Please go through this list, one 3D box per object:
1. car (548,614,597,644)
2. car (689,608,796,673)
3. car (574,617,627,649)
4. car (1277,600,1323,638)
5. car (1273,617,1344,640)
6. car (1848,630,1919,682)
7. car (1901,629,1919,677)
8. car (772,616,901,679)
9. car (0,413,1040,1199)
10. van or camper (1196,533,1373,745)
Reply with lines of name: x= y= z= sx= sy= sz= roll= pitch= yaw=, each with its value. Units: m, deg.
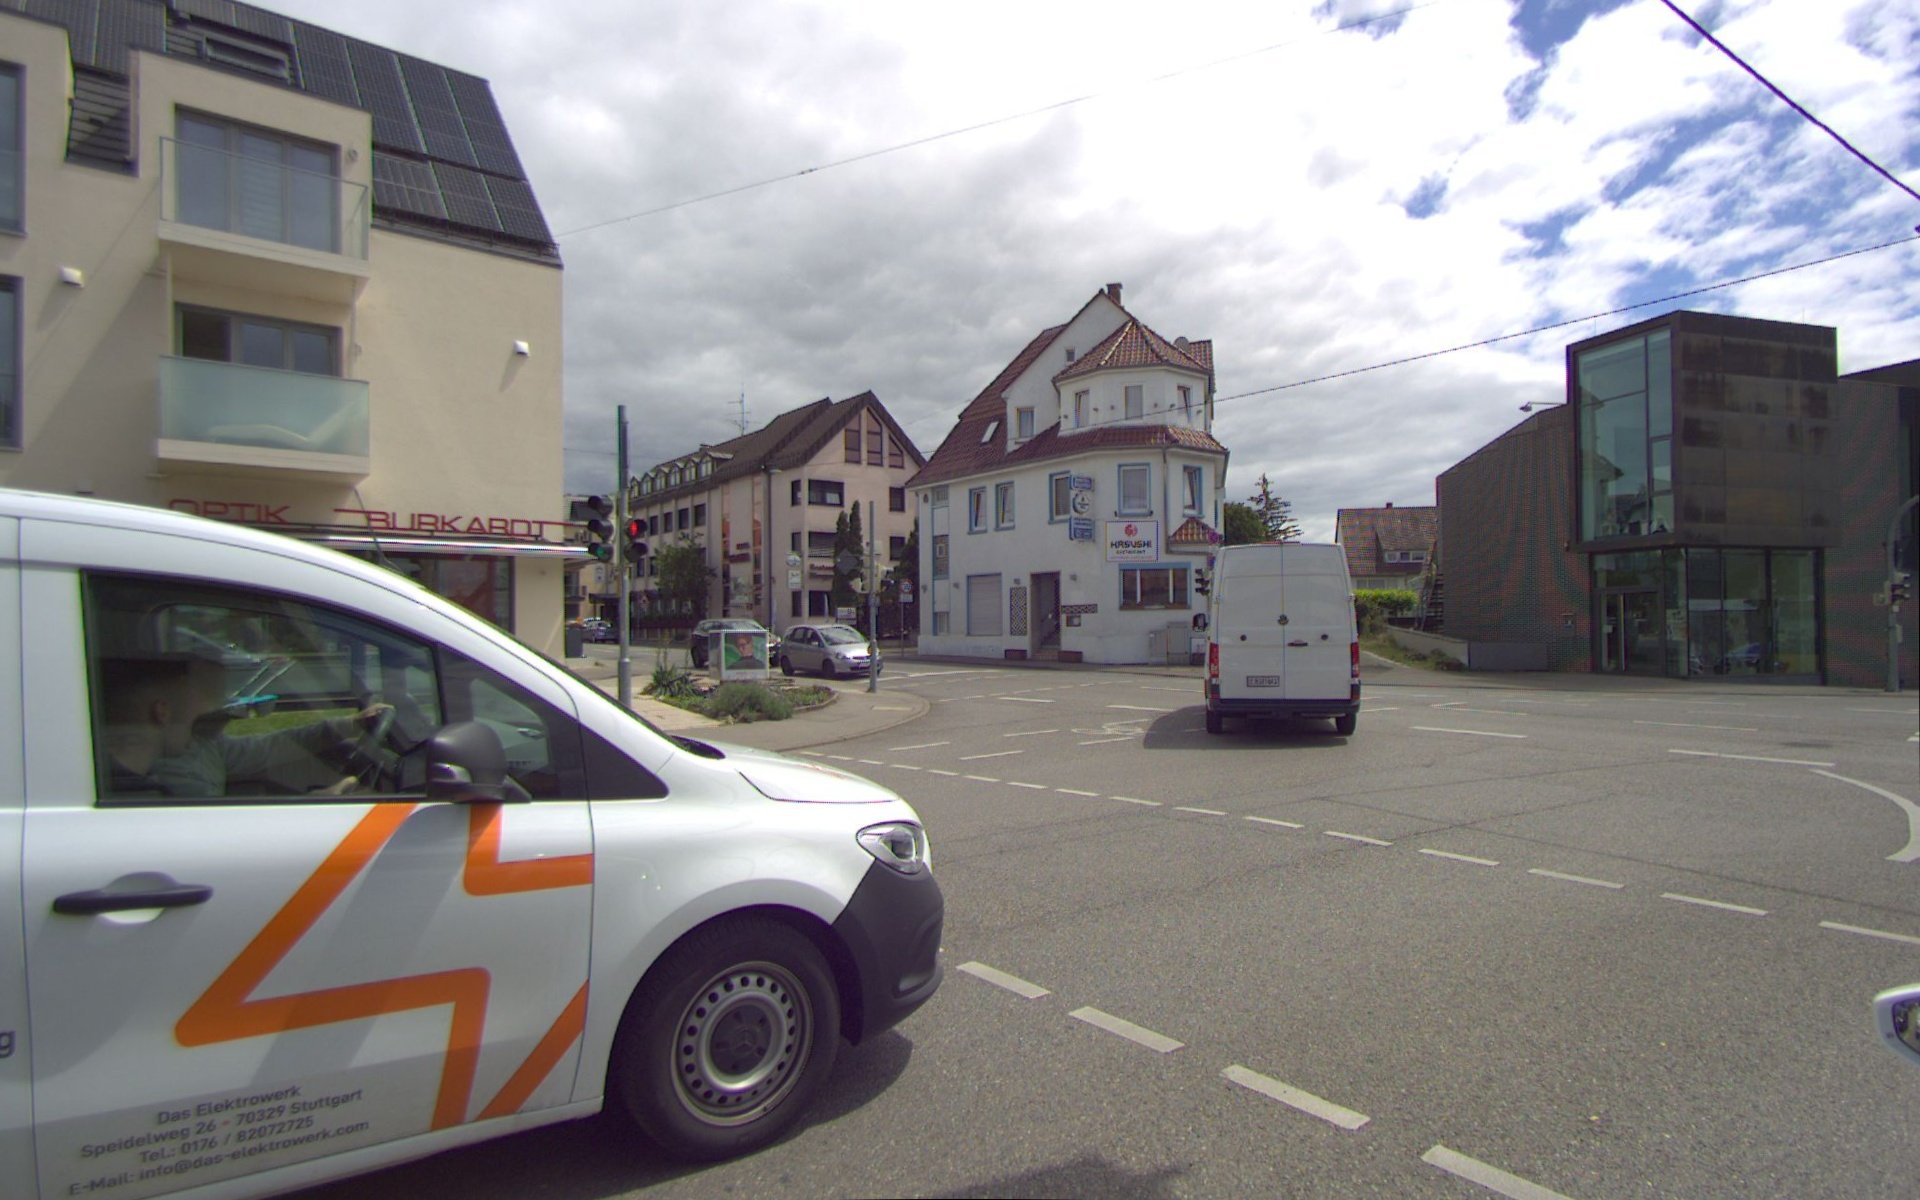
car: x=-27.073 y=2.015 z=70.187 sx=1.984 sy=2.040 sz=3.952 roll=1 pitch=-1 yaw=-41
car: x=-7.413 y=1.298 z=34.016 sx=1.983 sy=2.040 sz=3.954 roll=-1 pitch=0 yaw=-39
car: x=-23.748 y=2.123 z=66.315 sx=1.985 sy=2.040 sz=3.952 roll=1 pitch=-1 yaw=-41
car: x=18.899 y=1.044 z=55.985 sx=1.959 sy=2.040 sz=4.003 roll=0 pitch=-1 yaw=12
car: x=20.556 y=1.670 z=59.390 sx=3.920 sy=1.327 sz=1.534 roll=0 pitch=-1 yaw=18
car: x=32.860 y=1.913 z=33.828 sx=1.969 sy=1.662 sz=3.983 roll=1 pitch=0 yaw=-19
car: x=35.607 y=1.940 z=34.738 sx=1.969 sy=1.706 sz=3.983 roll=1 pitch=1 yaw=-19
car: x=-3.670 y=1.325 z=29.430 sx=1.983 sy=1.706 sz=3.955 roll=1 pitch=-1 yaw=-39
car: x=-2.022 y=0.583 z=2.861 sx=4.374 sy=1.836 sz=1.804 roll=1 pitch=-1 yaw=-35
van or camper: x=4.793 y=0.537 z=15.400 sx=2.072 sy=2.621 sz=5.648 roll=-1 pitch=-1 yaw=15
